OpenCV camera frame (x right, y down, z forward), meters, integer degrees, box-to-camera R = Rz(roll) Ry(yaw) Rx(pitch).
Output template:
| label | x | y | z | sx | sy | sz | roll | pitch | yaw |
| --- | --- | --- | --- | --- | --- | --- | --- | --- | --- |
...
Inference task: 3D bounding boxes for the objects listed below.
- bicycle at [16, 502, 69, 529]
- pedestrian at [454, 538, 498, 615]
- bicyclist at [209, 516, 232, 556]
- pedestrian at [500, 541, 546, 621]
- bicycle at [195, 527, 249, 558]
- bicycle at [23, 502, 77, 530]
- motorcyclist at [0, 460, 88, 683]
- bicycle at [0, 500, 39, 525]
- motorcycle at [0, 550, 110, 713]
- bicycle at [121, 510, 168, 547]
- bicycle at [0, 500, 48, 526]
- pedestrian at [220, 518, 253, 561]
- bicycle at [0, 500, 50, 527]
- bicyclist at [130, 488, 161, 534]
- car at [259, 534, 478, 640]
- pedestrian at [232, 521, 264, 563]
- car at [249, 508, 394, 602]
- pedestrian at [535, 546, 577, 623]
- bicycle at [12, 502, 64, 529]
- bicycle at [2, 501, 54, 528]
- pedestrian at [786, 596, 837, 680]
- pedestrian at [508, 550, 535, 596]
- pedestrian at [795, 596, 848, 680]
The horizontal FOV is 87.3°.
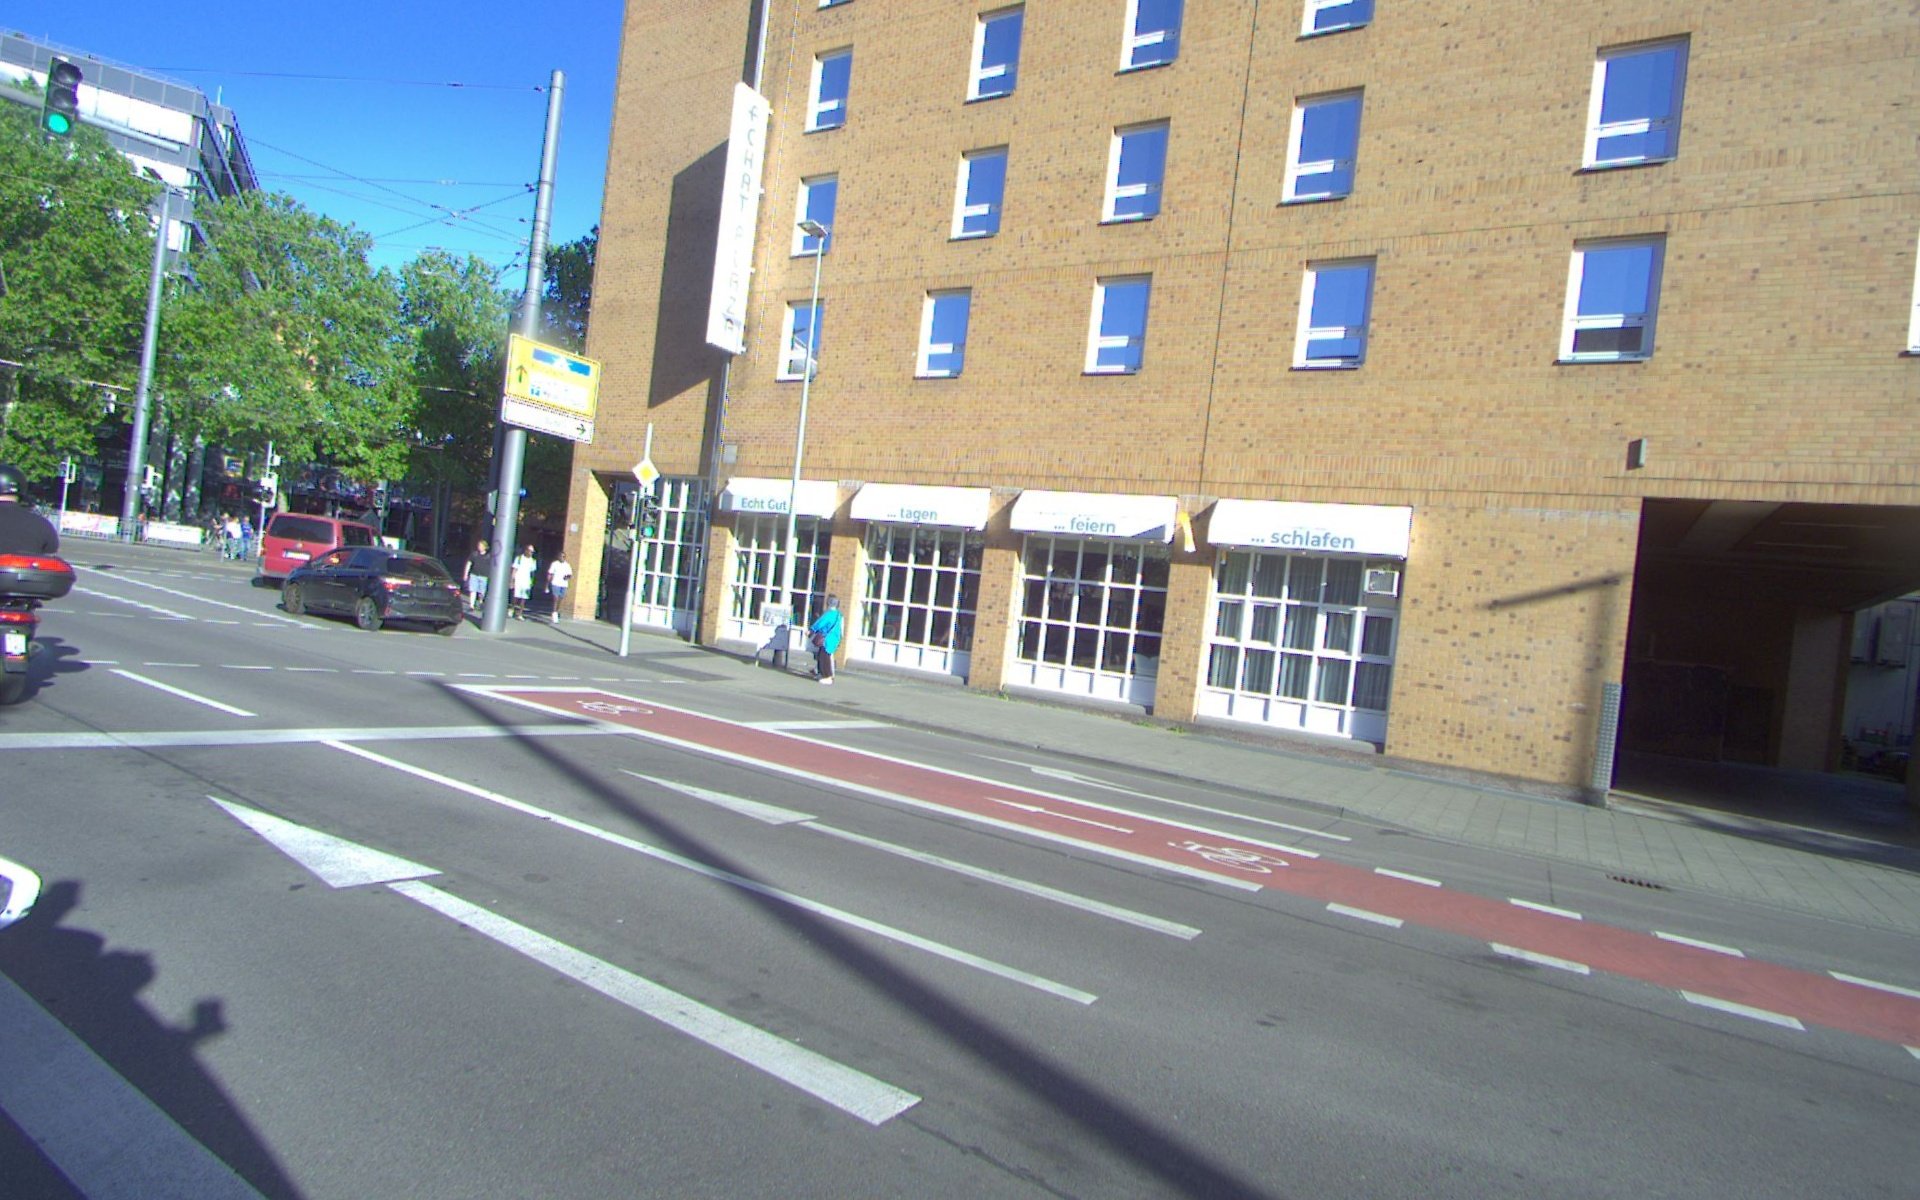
| label | x | y | z | sx | sy | sz | roll | pitch | yaw |
| --- | --- | --- | --- | --- | --- | --- | --- | --- | --- |
| bicycle | -46.698 | -4.299 | 51.224 | 0.354 | 1.058 | 1.884 | 6 | -2 | 31 |
| pedestrian | -12.056 | -0.578 | 25.059 | 0.726 | 1.813 | 0.510 | 7 | -1 | -19 |
| bicyclist | -36.378 | -3.157 | 49.490 | 0.396 | 1.859 | 0.585 | 6 | -1 | 31 |
| pedestrian | -10.431 | -0.448 | 24.034 | 0.670 | 1.804 | 0.593 | 8 | 4 | 28 |
| bicycle | -36.348 | -2.834 | 49.586 | 0.414 | 1.228 | 2.046 | 6 | -2 | 32 |
| bicycle | -46.008 | -4.236 | 50.883 | 0.354 | 1.058 | 1.884 | 6 | -2 | 31 |
| motorcyclist | -7.172 | -0.227 | 7.460 | 0.520 | 1.598 | 0.798 | 6 | -1 | 31 |
| bicycle | -50.174 | -4.660 | 53.313 | 0.354 | 1.058 | 1.885 | 7 | -2 | 31 |
| motorcycle | -7.469 | 0.158 | 7.623 | 2.336 | 1.062 | 0.805 | 6 | -2 | 32 |
| bicycle | -35.250 | -3.080 | 43.448 | 2.872 | 1.383 | 0.726 | 6 | -2 | 36 |
| bicycle | -49.197 | -4.549 | 52.752 | 0.354 | 1.058 | 1.885 | 7 | -2 | 31 |
| pedestrian | -28.145 | -2.345 | 39.120 | 0.689 | 1.550 | 0.568 | 7 | -1 | 9 |
| bicycle | -48.798 | -4.504 | 52.465 | 0.354 | 1.058 | 1.885 | 7 | -2 | 31 |
| bicyclist | -35.179 | -3.840 | 43.451 | 0.717 | 1.829 | 0.697 | 6 | -1 | 36 |
| car | -11.410 | -0.263 | 19.370 | 3.971 | 1.467 | 1.736 | 7 | -1 | 29 |
| pedestrian | -28.094 | -2.280 | 39.711 | 0.689 | 1.496 | 0.568 | 7 | -1 | 7 |
| car | -16.779 | -1.089 | 26.710 | 1.782 | 2.031 | 4.461 | 8 | -2 | -15 |
| pedestrian | -9.936 | -0.382 | 24.731 | 0.673 | 1.802 | 0.591 | 6 | 1 | 43 |
| bicycle | -47.356 | -4.350 | 51.682 | 0.354 | 1.058 | 1.884 | 6 | -2 | 31 |
| bicycle | -48.379 | -4.446 | 52.242 | 0.354 | 1.058 | 1.884 | 6 | -2 | 31 |
| pedestrian | -2.761 | 0.704 | 18.661 | 0.543 | 1.495 | 0.593 | 6 | 0 | 32 |
| pedestrian | -17.468 | -1.074 | 40.053 | 0.636 | 1.719 | 0.715 | 8 | -2 | -39 |
| pedestrian | -2.523 | 0.690 | 18.331 | 0.591 | 1.471 | 0.592 | 6 | 2 | 32 |
